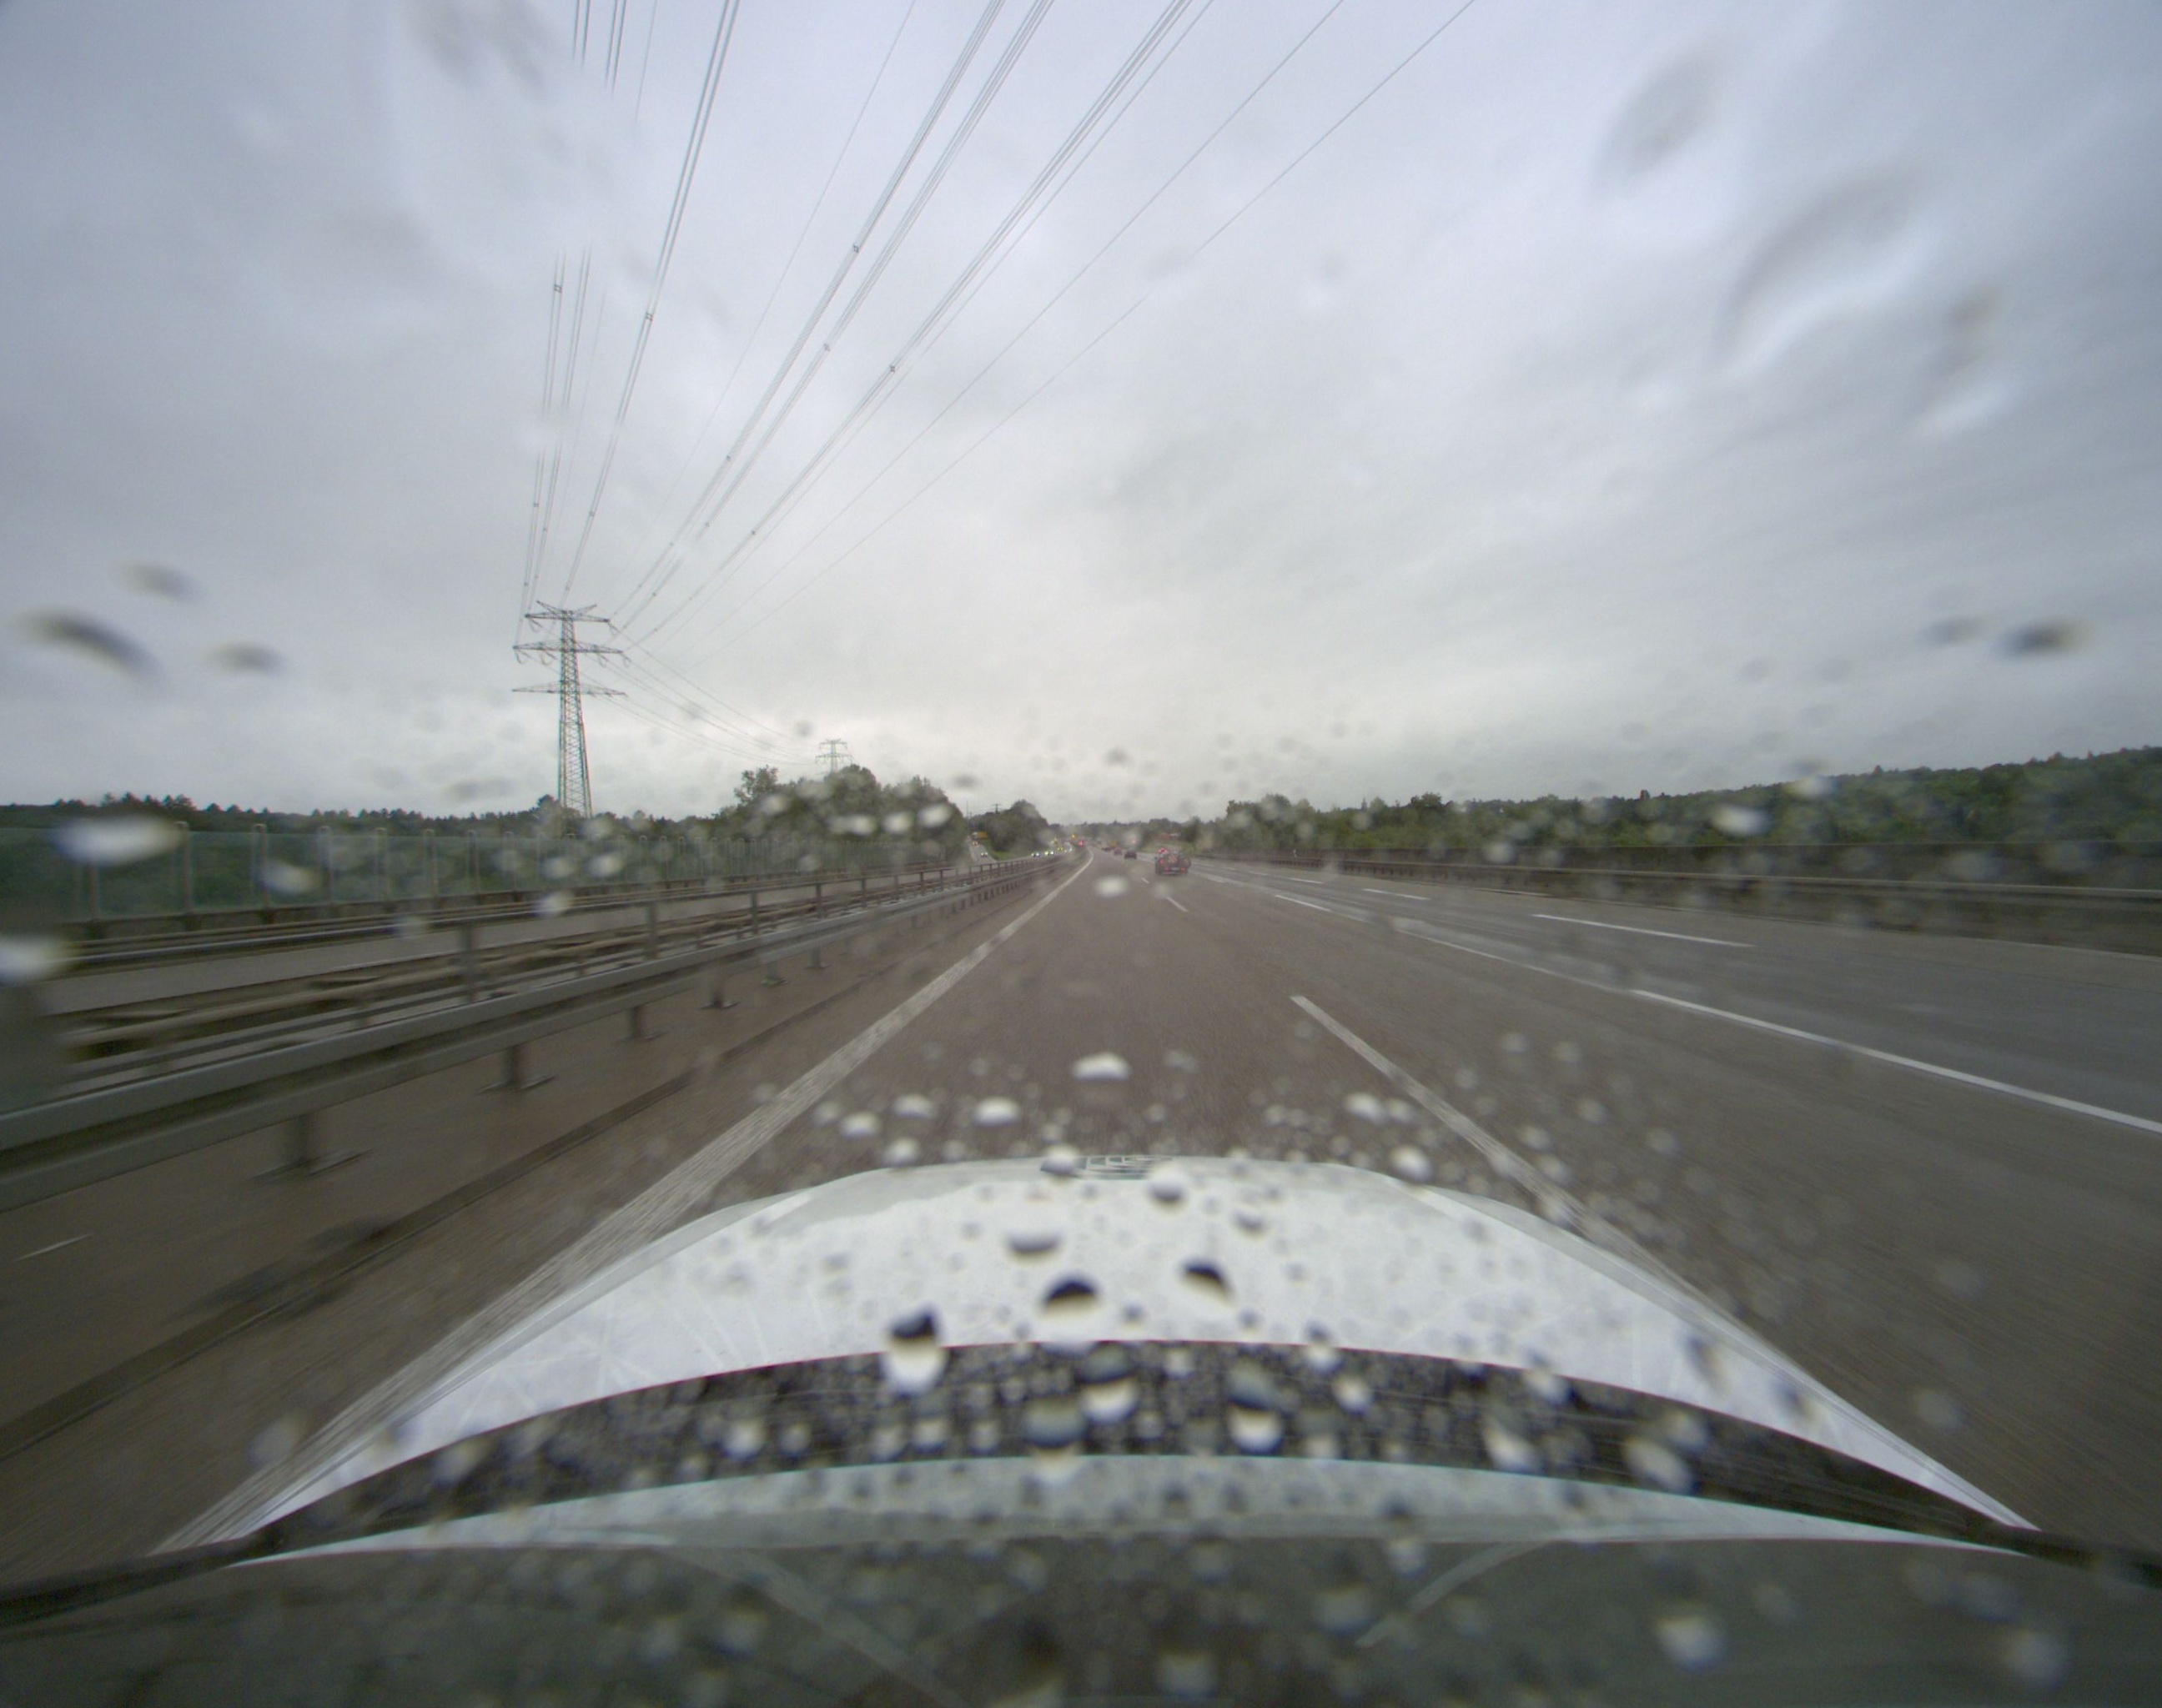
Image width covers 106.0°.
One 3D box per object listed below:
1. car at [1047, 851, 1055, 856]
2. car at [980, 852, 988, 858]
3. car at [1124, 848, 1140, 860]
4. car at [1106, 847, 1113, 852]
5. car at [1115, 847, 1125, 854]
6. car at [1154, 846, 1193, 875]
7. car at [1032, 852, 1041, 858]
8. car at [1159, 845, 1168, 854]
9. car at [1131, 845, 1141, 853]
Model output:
[{"bbox_3d":[-8.267,-0.125,225.585,1.809,1.437,4.090,-3,0,1],"label":"car"},{"bbox_3d":[-28.101,0.347,236.031,1.995,1.670,3.984,-3,0,-12],"label":"car"},{"bbox_3d":[7.722,0.007,123.265,1.987,1.760,3.999,-3,1,-1],"label":"car"},{"bbox_3d":[9.053,-1.518,262.561,1.987,1.628,3.999,-3,1,-1],"label":"car"},{"bbox_3d":[8.778,-0.785,185.586,1.987,1.628,3.999,-3,1,-1],"label":"car"},{"bbox_3d":[5.687,0.399,50.763,2.049,1.671,5.526,-1,0,3],"label":"car"},{"bbox_3d":[-11.640,0.255,214.128,1.809,1.388,4.090,-3,0,1],"label":"car"},{"bbox_3d":[18.275,-1.020,180.042,1.912,1.709,4.007,-3,1,6],"label":"car"},{"bbox_3d":[12.982,-1.283,191.737,1.987,1.760,3.999,-3,1,-1],"label":"car"}]
